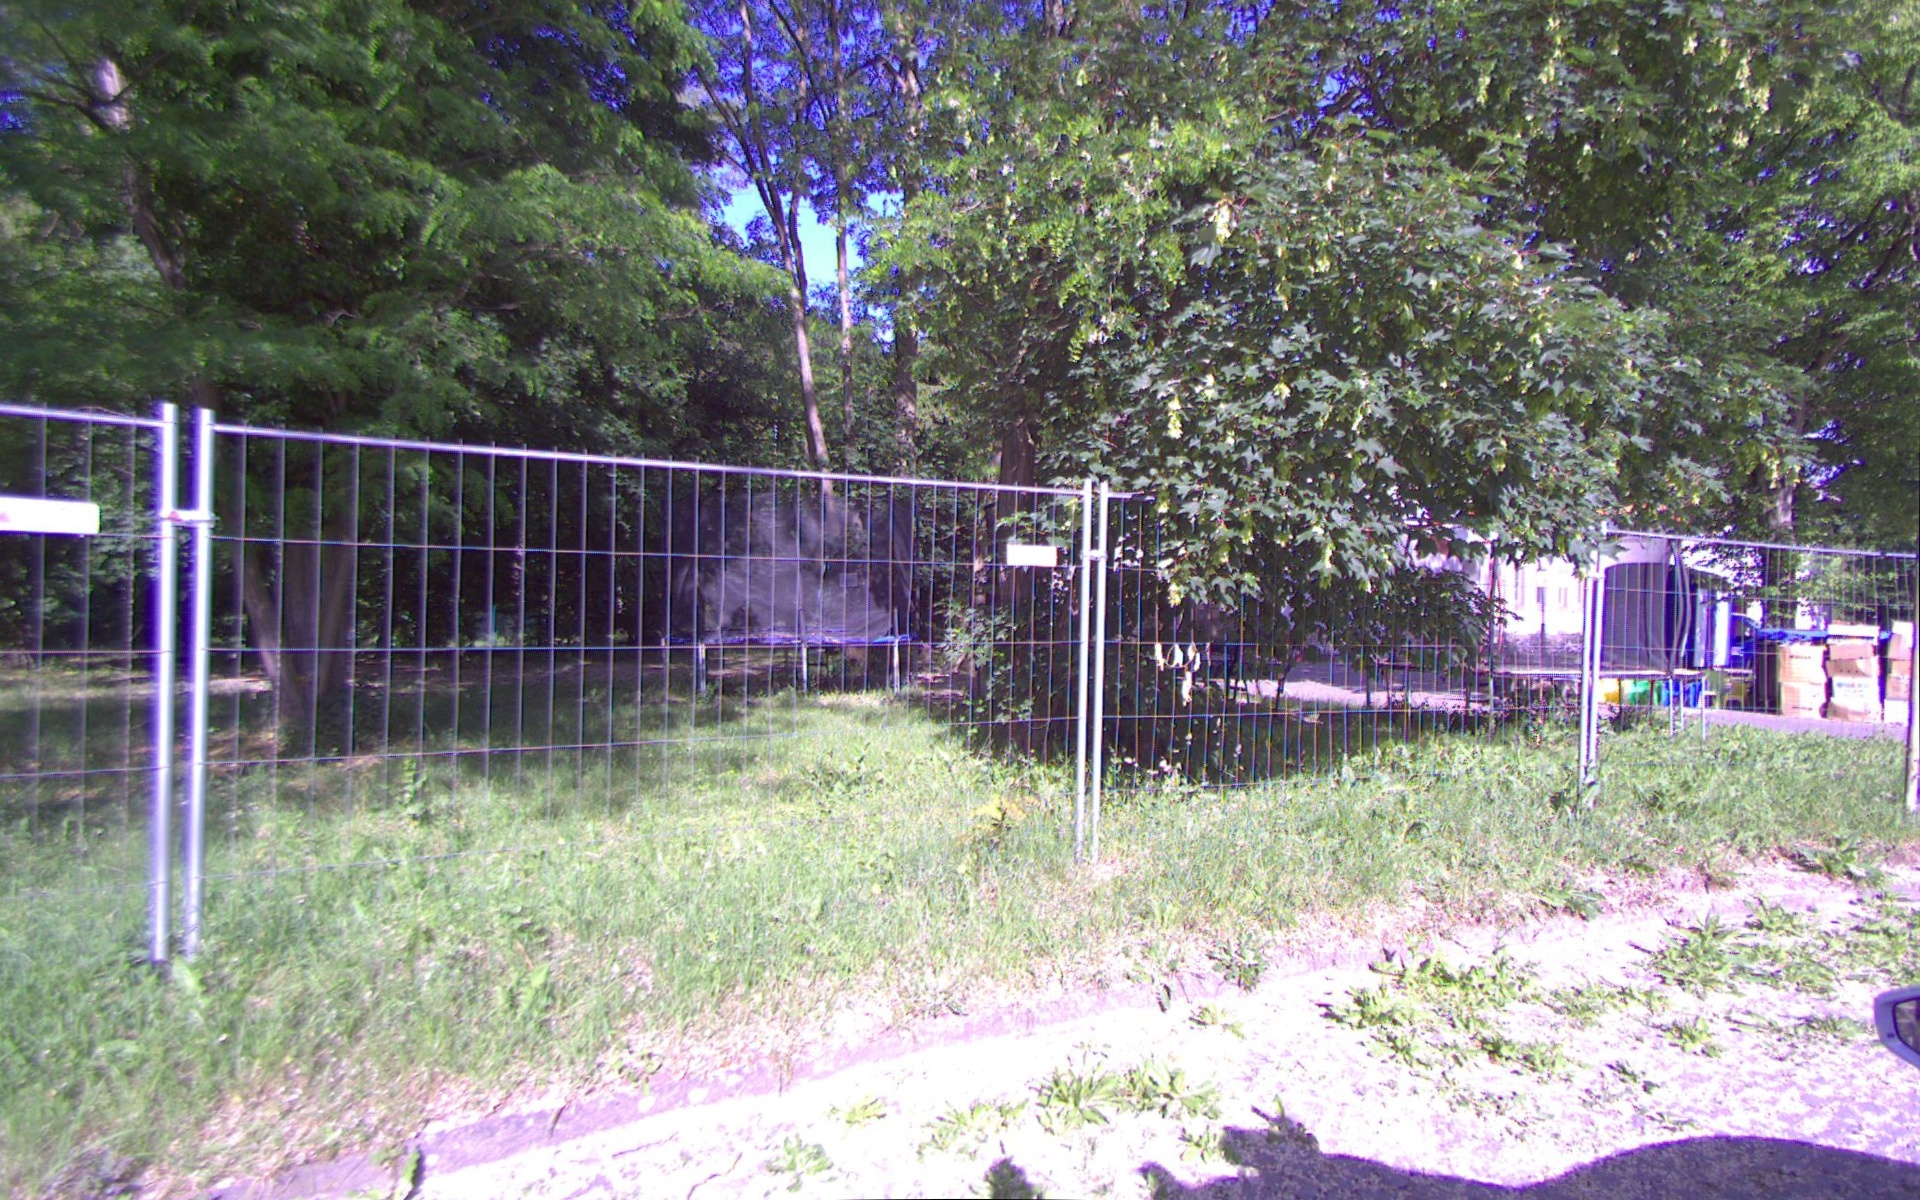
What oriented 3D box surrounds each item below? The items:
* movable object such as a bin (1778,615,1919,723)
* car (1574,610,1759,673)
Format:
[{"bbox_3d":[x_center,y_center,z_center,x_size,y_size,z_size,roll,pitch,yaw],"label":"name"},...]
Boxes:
[{"bbox_3d":[14.635,1.069,16.098,2.264,1.612,1.167,1,0,44],"label":"movable object such as a bin"},{"bbox_3d":[22.892,1.319,32.679,1.987,1.927,4.663,3,-3,-44],"label":"car"}]
